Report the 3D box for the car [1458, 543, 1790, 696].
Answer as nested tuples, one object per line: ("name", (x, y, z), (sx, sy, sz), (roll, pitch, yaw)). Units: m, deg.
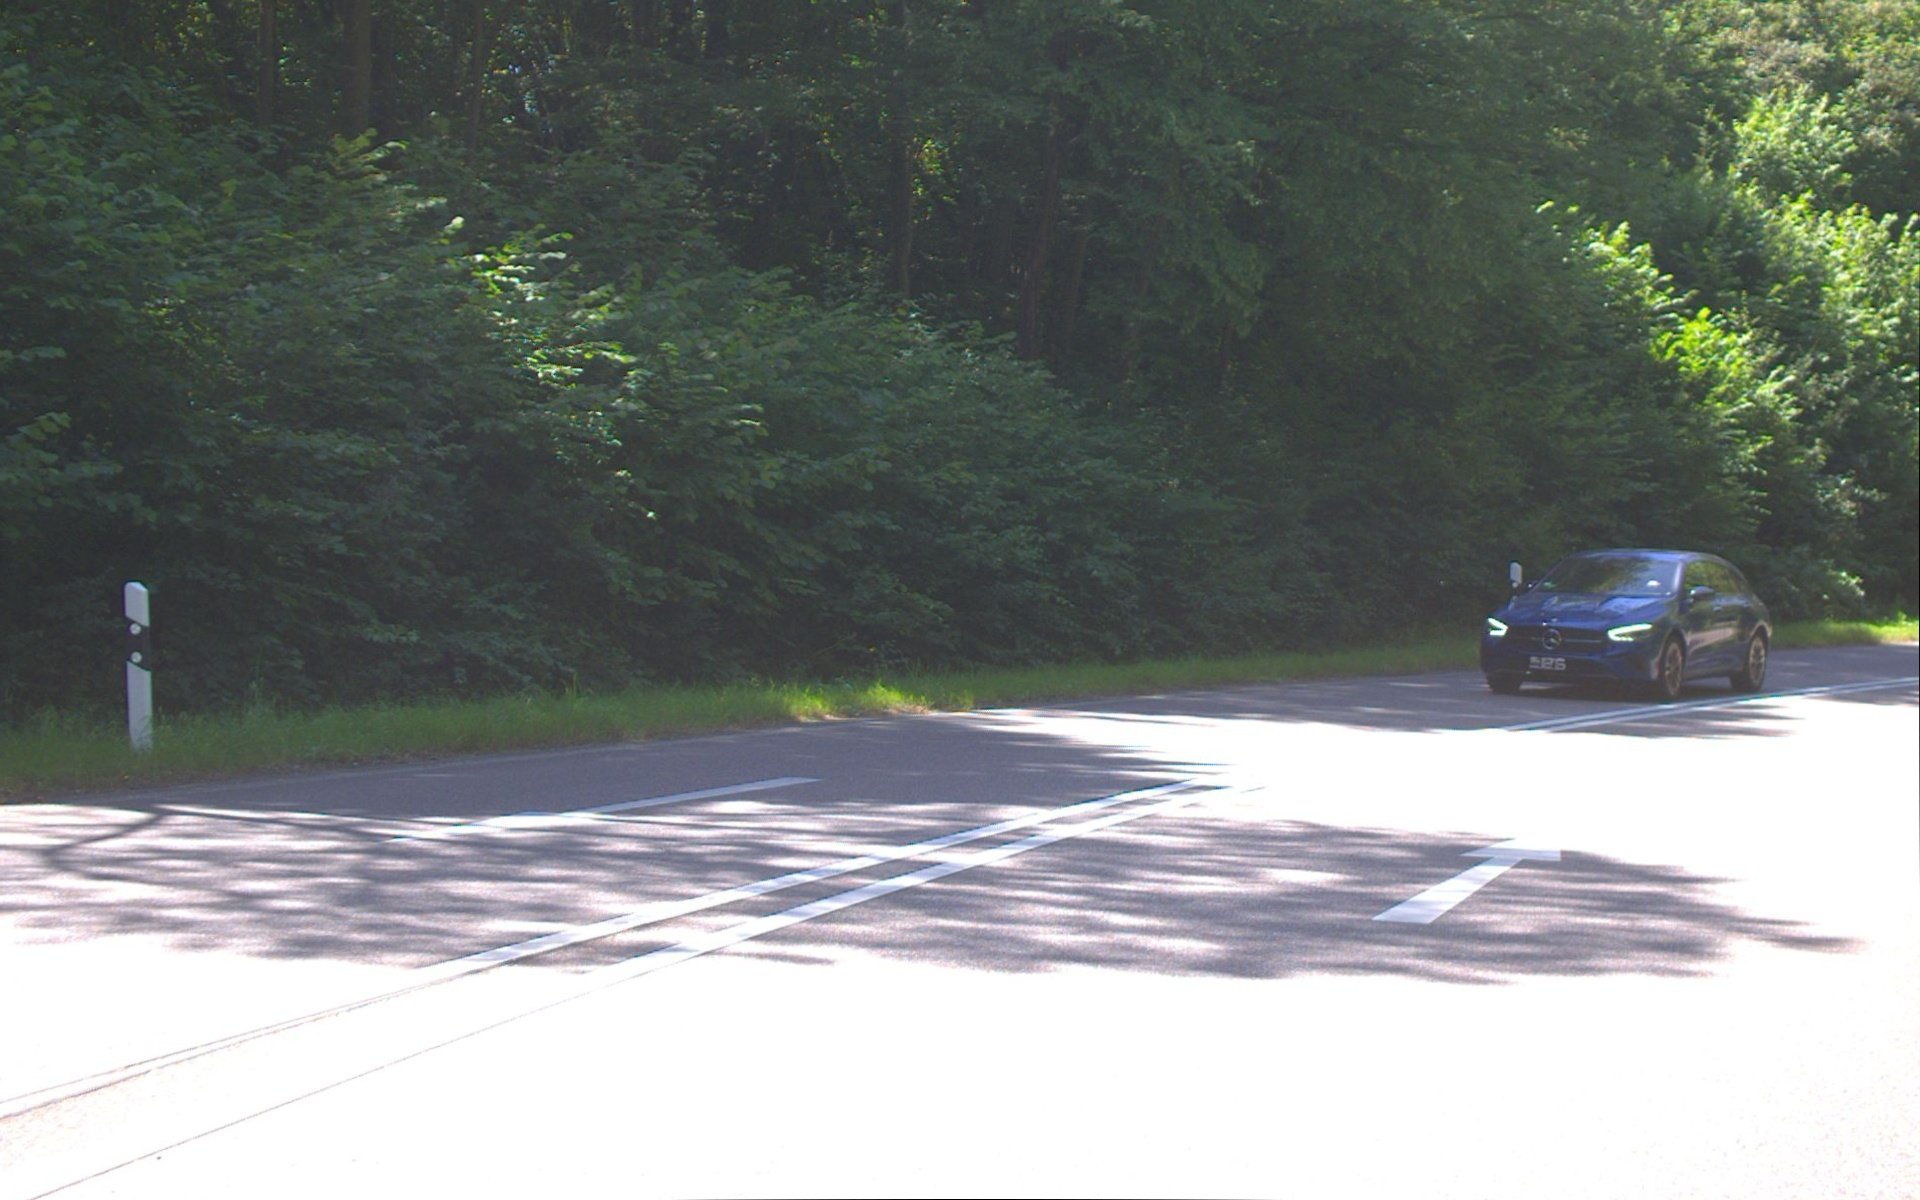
("car", (6.653, 0.171, 34.104), (1.792, 1.401, 4.353), (1, 1, 32))
